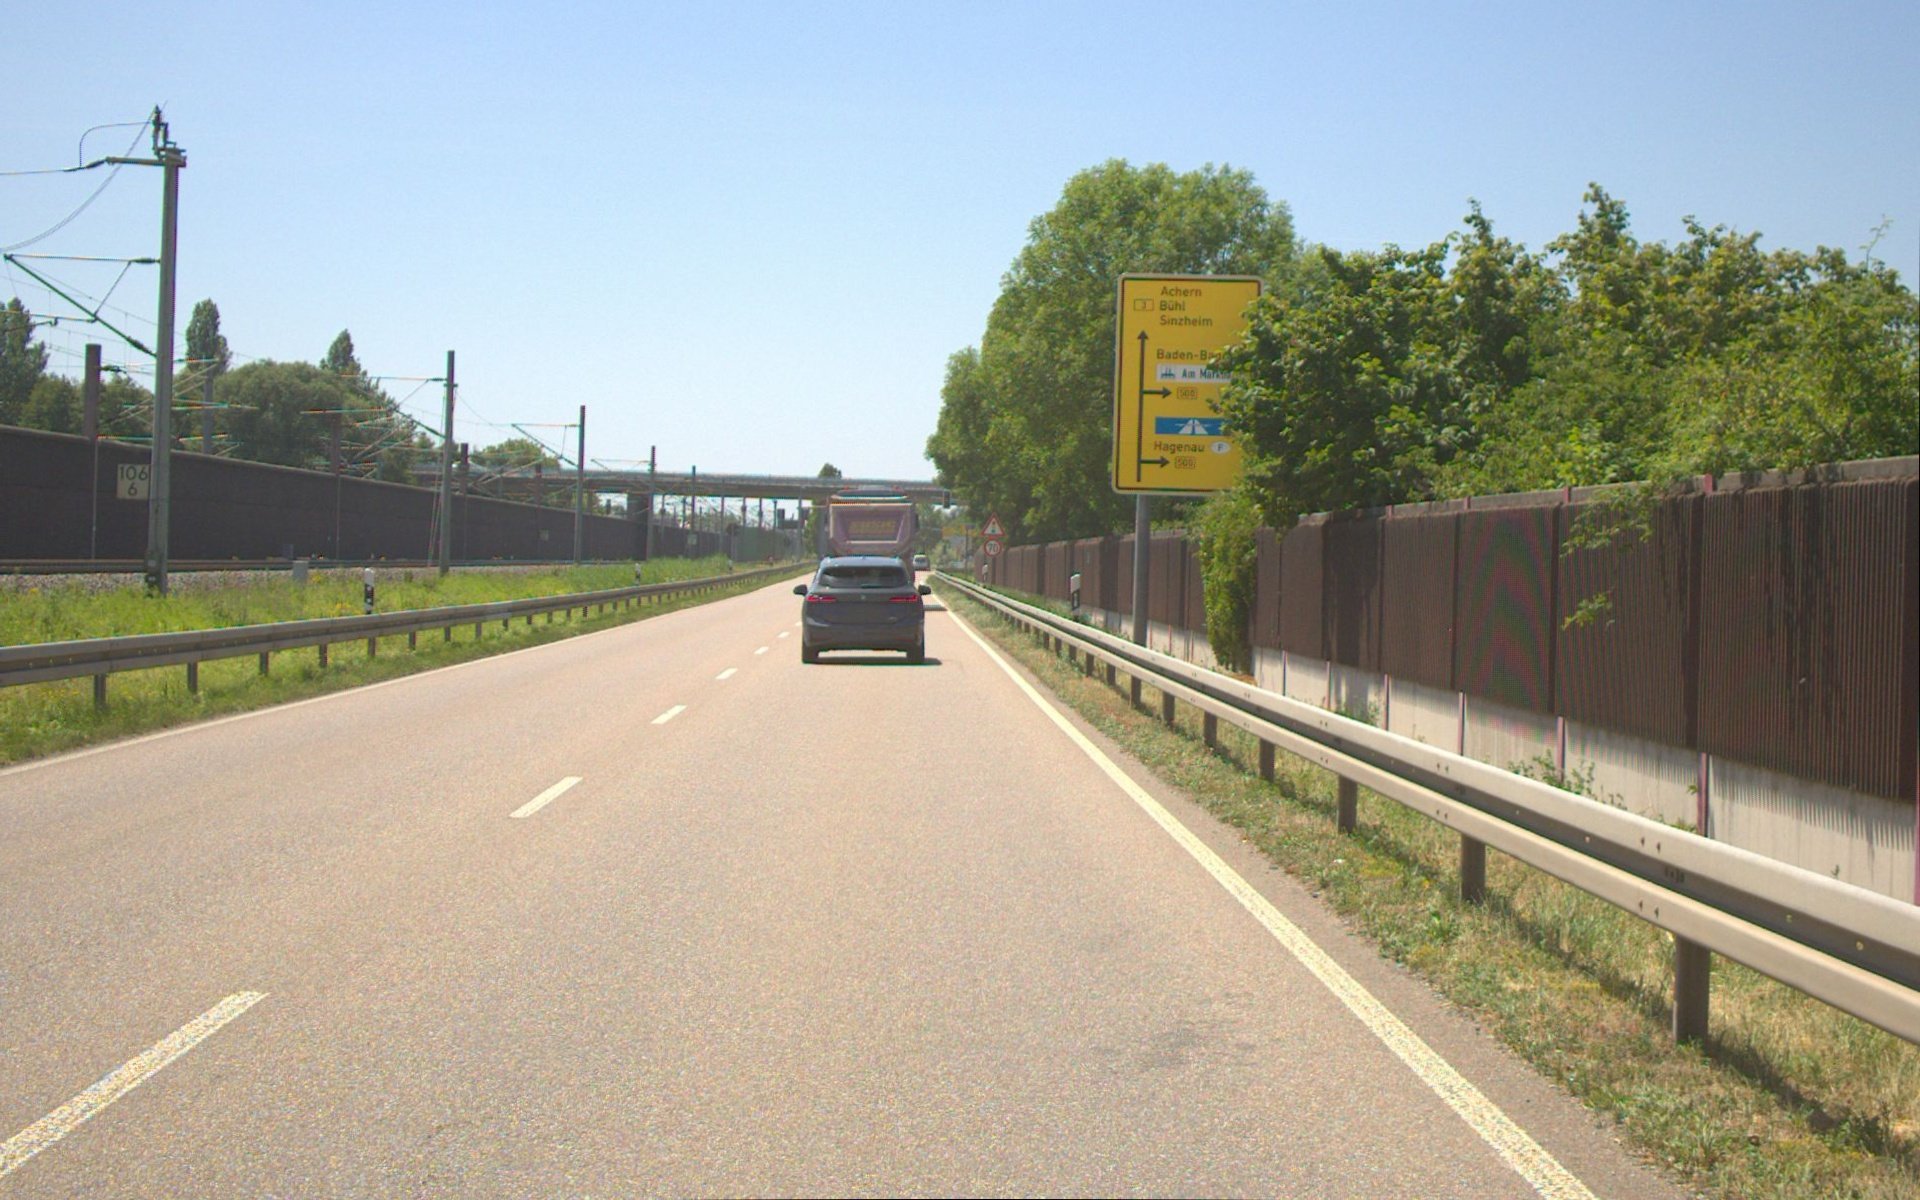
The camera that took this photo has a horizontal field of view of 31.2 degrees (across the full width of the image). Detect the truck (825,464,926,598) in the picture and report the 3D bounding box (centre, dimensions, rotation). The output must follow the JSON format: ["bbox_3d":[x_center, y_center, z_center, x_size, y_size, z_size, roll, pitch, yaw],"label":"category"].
[{"bbox_3d":[-2.596,-2.030,104.471,2.833,3.808,11.886,1,1,-2],"label":"truck"}]

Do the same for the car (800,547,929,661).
[{"bbox_3d":[-1.395,0.036,51.578,1.844,1.617,4.226,1,1,-1],"label":"car"}]
